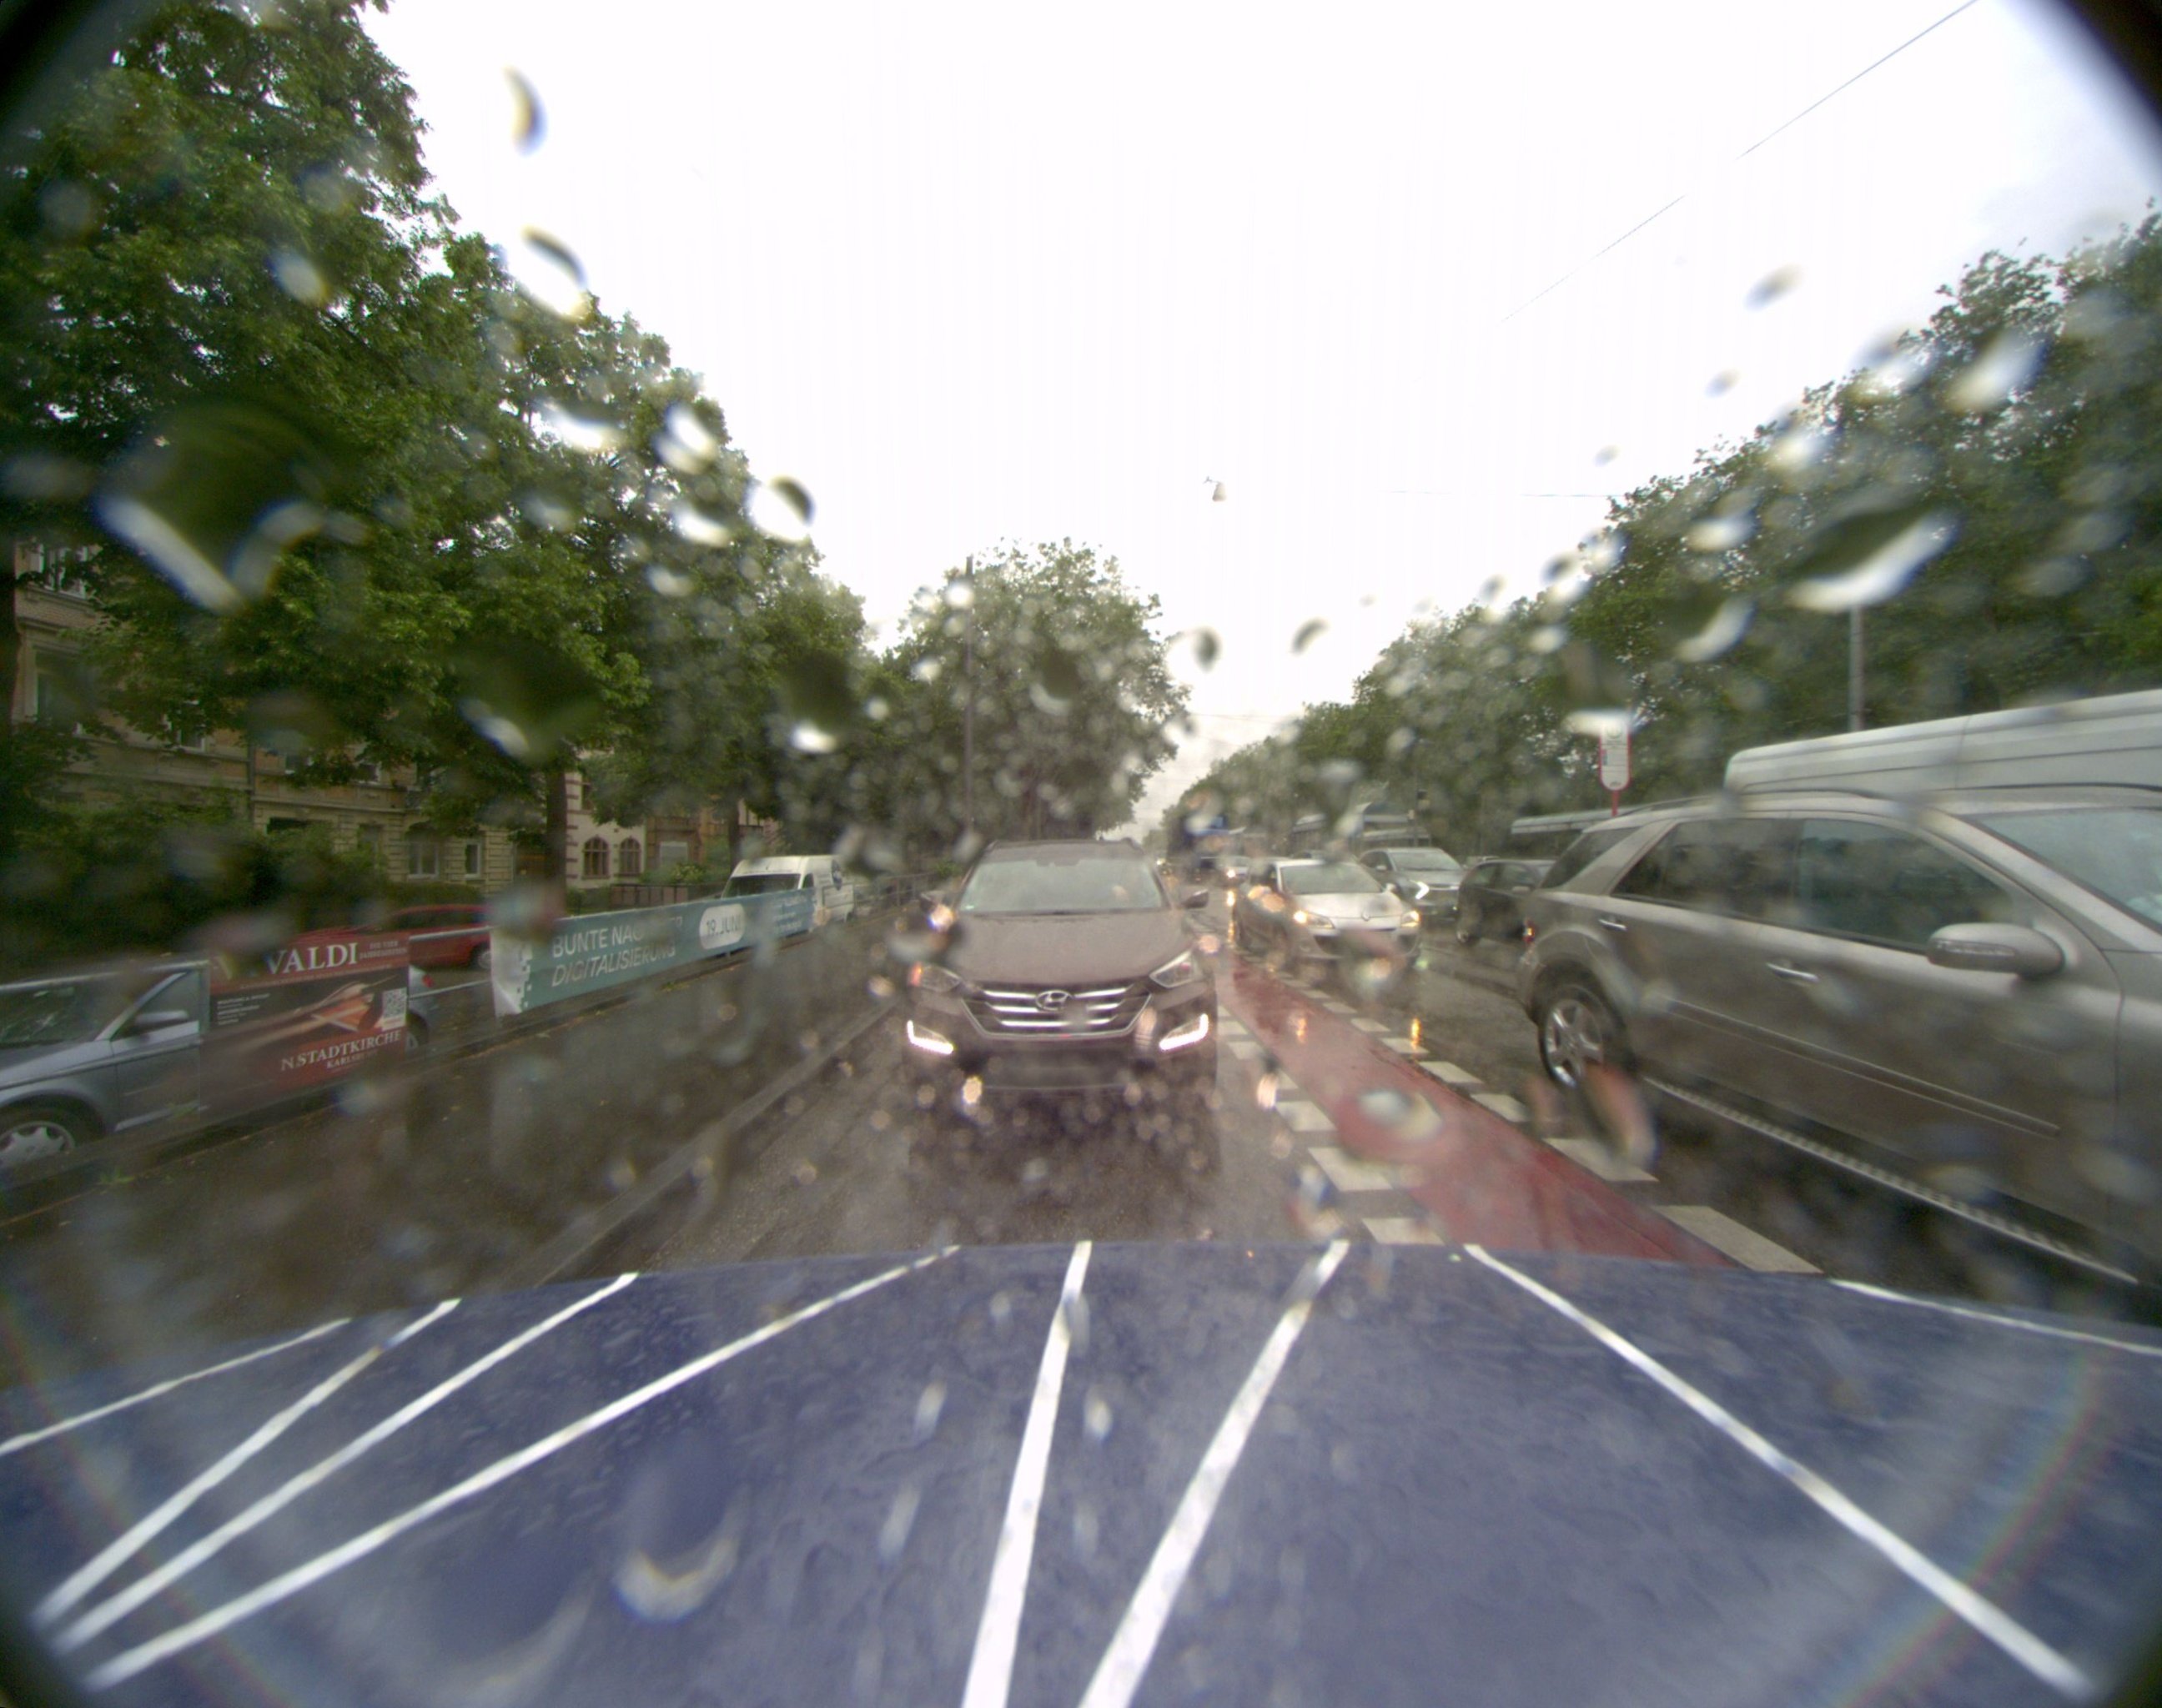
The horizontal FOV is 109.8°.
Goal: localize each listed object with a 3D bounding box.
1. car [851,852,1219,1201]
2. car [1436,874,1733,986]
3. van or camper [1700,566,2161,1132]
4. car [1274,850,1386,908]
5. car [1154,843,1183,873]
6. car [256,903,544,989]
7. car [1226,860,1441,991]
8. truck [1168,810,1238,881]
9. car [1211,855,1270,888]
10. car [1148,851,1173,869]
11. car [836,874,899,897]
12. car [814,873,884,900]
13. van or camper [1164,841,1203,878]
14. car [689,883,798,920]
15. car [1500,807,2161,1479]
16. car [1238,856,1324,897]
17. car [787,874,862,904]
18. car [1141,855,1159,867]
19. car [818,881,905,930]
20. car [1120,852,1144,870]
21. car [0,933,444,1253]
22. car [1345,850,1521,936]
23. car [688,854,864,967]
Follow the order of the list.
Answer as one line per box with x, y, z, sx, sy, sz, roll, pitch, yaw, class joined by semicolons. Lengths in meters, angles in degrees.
-0.160;0.850;5.550;1.756;1.657;3.678;-2;0;2;car
6.742;0.929;10.766;1.467;1.111;4.087;-2;0;0;car
7.051;-0.032;4.352;2.164;3.123;5.850;0;0;-1;van or camper
7.566;0.687;23.580;1.999;1.611;4.319;-1;0;-1;car
7.446;0.320;65.347;1.998;2.412;5.727;-2;0;3;car
-14.627;1.916;16.738;4.439;1.444;1.894;0;-1;-32;car
3.414;0.870;11.128;1.772;1.469;4.000;-2;0;0;car
7.234;-0.485;46.454;2.545;3.866;9.810;1;0;-1;truck
7.583;0.791;36.512;1.895;1.478;4.077;-1;0;-1;car
7.614;0.565;73.325;1.998;1.568;4.000;-2;0;1;car
-15.540;2.245;55.355;4.007;1.455;1.908;-2;1;-34;car
-15.364;2.129;50.316;4.007;1.557;1.995;-2;1;-34;car
7.634;0.395;57.111;1.998;2.555;6.431;-2;0;0;van or camper
-14.861;2.056;33.499;4.269;1.372;1.687;-1;1;-27;car
3.821;0.725;2.821;2.030;1.760;4.462;-2;0;0;car
7.524;0.790;29.058;1.999;1.386;4.606;0;0;-1;car
-15.723;2.128;46.663;4.006;1.599;1.821;-2;1;-31;car
7.217;0.702;79.915;1.467;1.185;3.615;-2;0;0;car
-7.732;1.769;27.259;1.972;1.345;4.383;-3;0;-3;car
4.635;0.610;69.335;1.899;1.569;3.999;0;0;0;car
-7.235;1.594;5.539;1.736;1.530;4.074;-2;0;-1;car
7.451;0.729;16.642;1.919;1.614;4.454;0;0;2;car
-7.705;1.261;20.094;2.214;2.406;6.157;-3;0;-2;car
